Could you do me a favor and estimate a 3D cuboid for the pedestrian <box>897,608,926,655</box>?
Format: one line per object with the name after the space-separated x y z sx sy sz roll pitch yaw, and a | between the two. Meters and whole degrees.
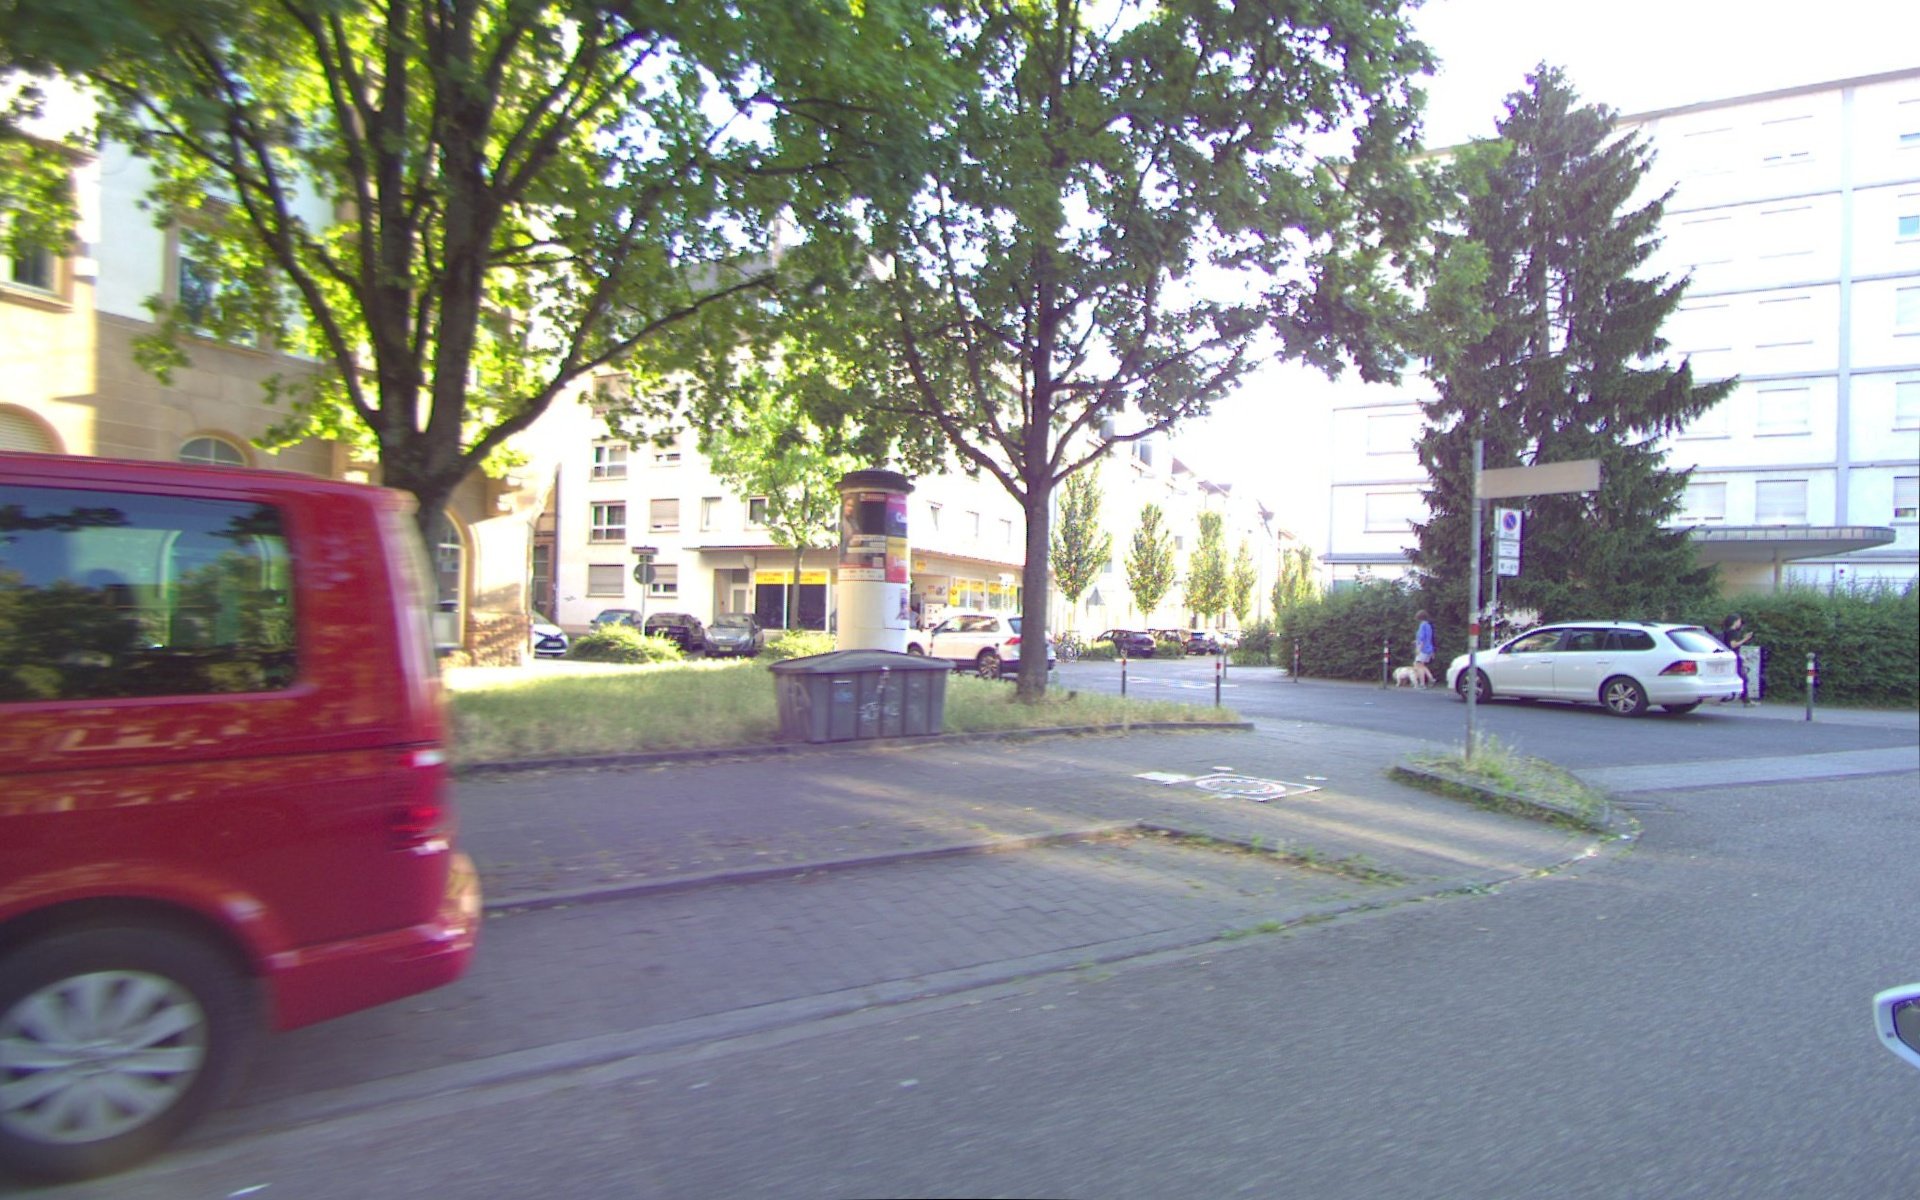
-1.969 1.288 41.214 0.836 1.899 0.890 0 -1 26 | pedestrian

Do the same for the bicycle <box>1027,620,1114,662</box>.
4.408 1.621 40.089 3.319 1.464 0.880 3 0 29 | bicycle

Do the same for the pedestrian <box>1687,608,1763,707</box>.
14.257 1.056 18.725 0.861 1.759 0.824 2 0 -31 | pedestrian

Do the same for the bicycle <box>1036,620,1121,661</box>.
4.808 1.643 40.954 3.319 1.464 0.880 3 0 29 | bicycle

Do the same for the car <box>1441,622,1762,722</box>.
10.677 1.108 17.100 1.898 1.470 4.267 1 -1 -26 | car

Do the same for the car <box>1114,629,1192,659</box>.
10.680 2.421 55.613 3.928 1.579 1.742 0 -2 30 | car

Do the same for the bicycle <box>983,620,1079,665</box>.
2.501 1.489 35.720 3.319 1.464 0.880 1 -1 29 | bicycle

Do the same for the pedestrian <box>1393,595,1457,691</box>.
10.228 0.938 22.098 0.853 2.040 0.978 2 -1 -30 | pedestrian

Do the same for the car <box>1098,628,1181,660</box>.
9.380 2.277 52.513 3.928 1.579 1.742 0 -2 30 | car

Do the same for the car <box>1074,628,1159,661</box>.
7.933 2.234 51.072 3.928 1.579 1.742 0 -2 30 | car

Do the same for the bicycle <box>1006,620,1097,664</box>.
3.485 1.590 38.458 3.319 1.464 0.880 3 0 29 | bicycle

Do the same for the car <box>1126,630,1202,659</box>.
11.624 2.522 57.313 3.928 1.579 1.742 0 -2 30 | car

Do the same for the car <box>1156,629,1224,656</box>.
14.702 2.701 64.286 3.928 1.579 1.742 0 -2 30 | car

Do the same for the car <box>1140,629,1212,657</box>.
13.222 2.623 61.516 3.928 1.579 1.742 0 -2 30 | car

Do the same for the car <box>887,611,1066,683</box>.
0.357 1.147 25.673 4.471 1.669 1.931 0 -2 44 | car

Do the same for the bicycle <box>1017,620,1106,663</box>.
3.946 1.621 39.255 3.319 1.464 0.880 3 0 29 | bicycle

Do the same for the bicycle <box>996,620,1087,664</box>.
3.041 1.560 37.715 3.319 1.464 0.880 3 0 29 | bicycle

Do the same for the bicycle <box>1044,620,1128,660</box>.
5.231 1.647 41.826 3.319 1.464 0.880 3 0 29 | bicycle

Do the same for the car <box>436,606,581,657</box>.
-13.339 0.911 29.671 3.927 1.418 1.871 0 -2 28 | car

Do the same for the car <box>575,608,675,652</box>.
-12.735 1.146 38.442 1.835 1.589 4.003 1 -2 12 | car

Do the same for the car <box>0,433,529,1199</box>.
-3.828 0.514 2.686 4.717 1.959 1.767 2 1 -31 | car

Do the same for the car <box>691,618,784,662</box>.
-7.856 1.409 35.861 1.835 1.418 4.003 1 -2 9 | car

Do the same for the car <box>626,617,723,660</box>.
-10.239 1.375 36.327 1.835 1.418 4.003 1 -2 9 | car
